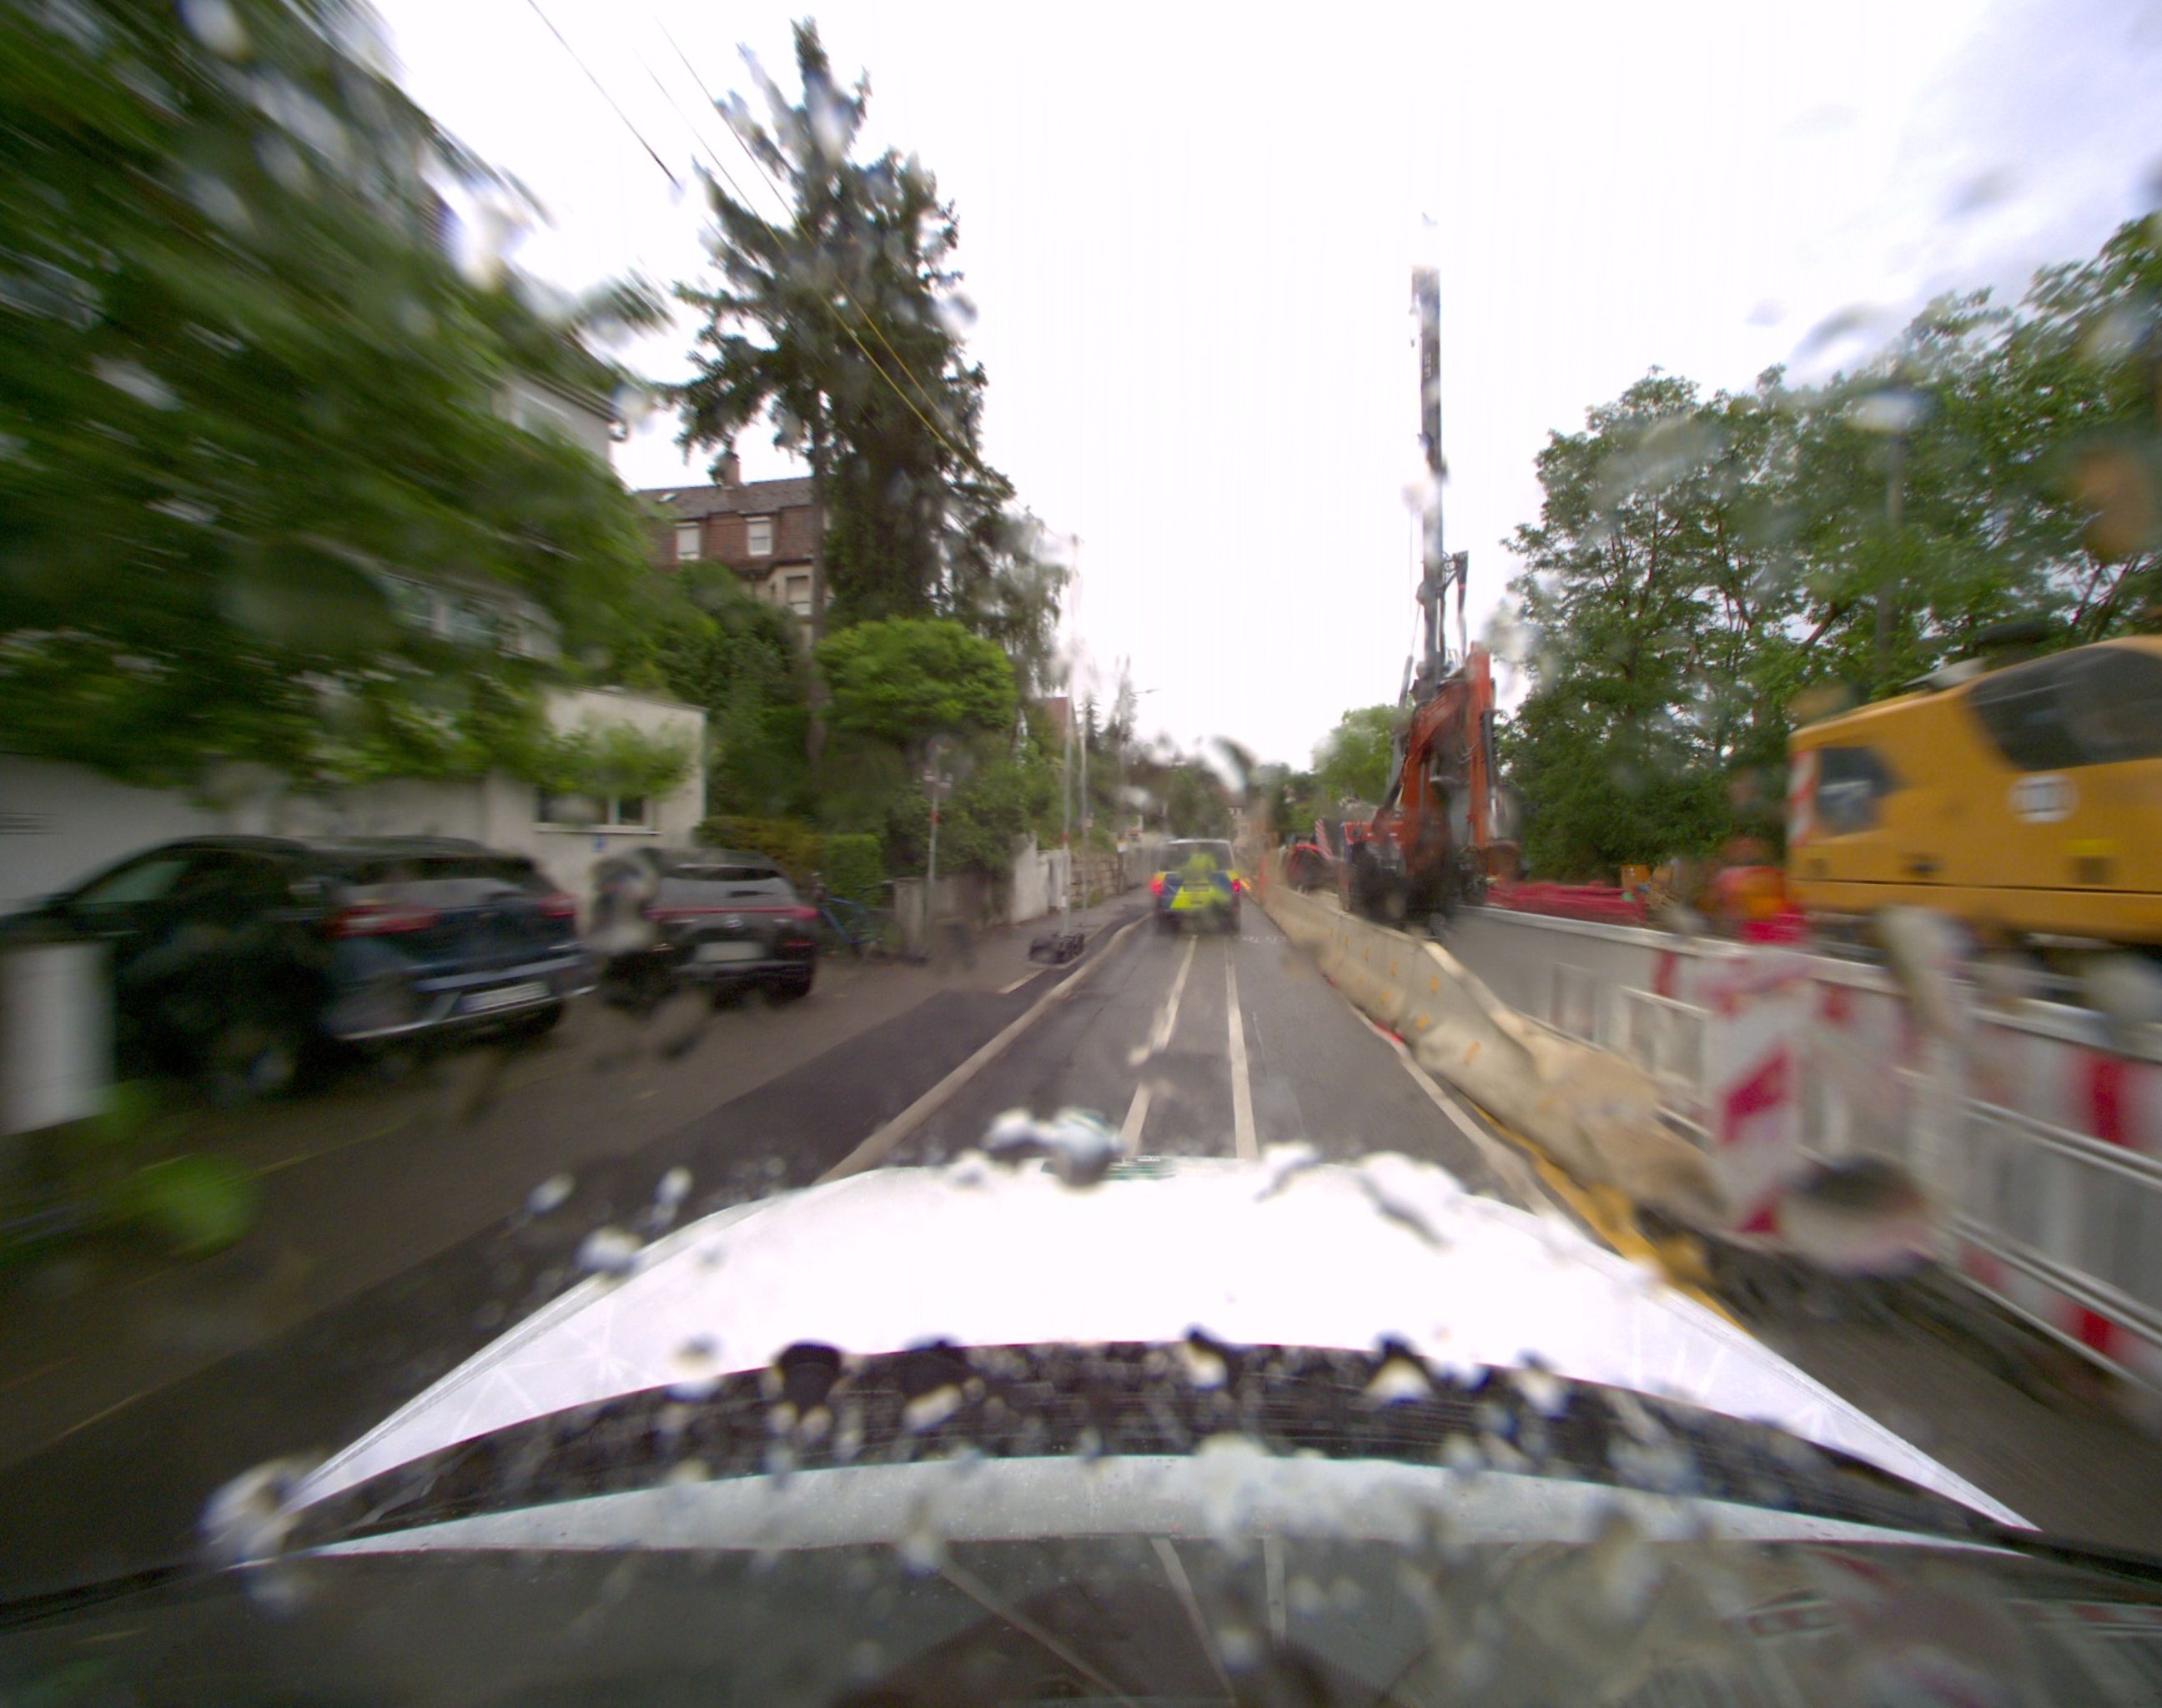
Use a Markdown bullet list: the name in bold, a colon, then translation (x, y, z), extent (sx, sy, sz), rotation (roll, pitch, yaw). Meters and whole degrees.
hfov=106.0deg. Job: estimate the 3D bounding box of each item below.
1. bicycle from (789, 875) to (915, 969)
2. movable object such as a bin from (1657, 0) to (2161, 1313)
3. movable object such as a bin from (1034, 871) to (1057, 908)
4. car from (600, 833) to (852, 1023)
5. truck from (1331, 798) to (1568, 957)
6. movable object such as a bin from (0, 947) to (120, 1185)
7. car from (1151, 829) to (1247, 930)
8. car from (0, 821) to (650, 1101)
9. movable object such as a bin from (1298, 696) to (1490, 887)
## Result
- **bicycle**: translation (-2.987, 0.851, 10.596), extent (1.604, 1.131, 0.445), rotation (1, -1, 22)
- **movable object such as a bin**: translation (5.039, -0.649, 3.310), extent (2.859, 4.170, 4.503), rotation (-1, 0, 12)
- **movable object such as a bin**: translation (-0.930, 0.939, 21.566), extent (0.504, 0.965, 0.499), rotation (1, -1, 9)
- **car**: translation (-3.960, 0.602, 8.677), extent (1.793, 1.525, 3.959), rotation (2, -1, -33)
- **truck**: translation (5.439, 0.355, 12.607), extent (2.536, 2.108, 3.312), rotation (-1, -1, 9)
- **movable object such as a bin**: translation (-4.648, 0.898, 3.505), extent (0.500, 0.931, 0.507), rotation (-1, -2, 22)
- **car**: translation (2.744, 0.541, 18.760), extent (1.897, 2.010, 4.450), rotation (1, -1, 9)
- **car**: translation (-5.560, 0.578, 6.016), extent (3.955, 1.526, 1.950), rotation (1, -1, 18)
- **movable object such as a bin**: translation (10.008, -1.589, 25.510), extent (3.646, 5.067, 7.208), rotation (-2, -2, 37)
